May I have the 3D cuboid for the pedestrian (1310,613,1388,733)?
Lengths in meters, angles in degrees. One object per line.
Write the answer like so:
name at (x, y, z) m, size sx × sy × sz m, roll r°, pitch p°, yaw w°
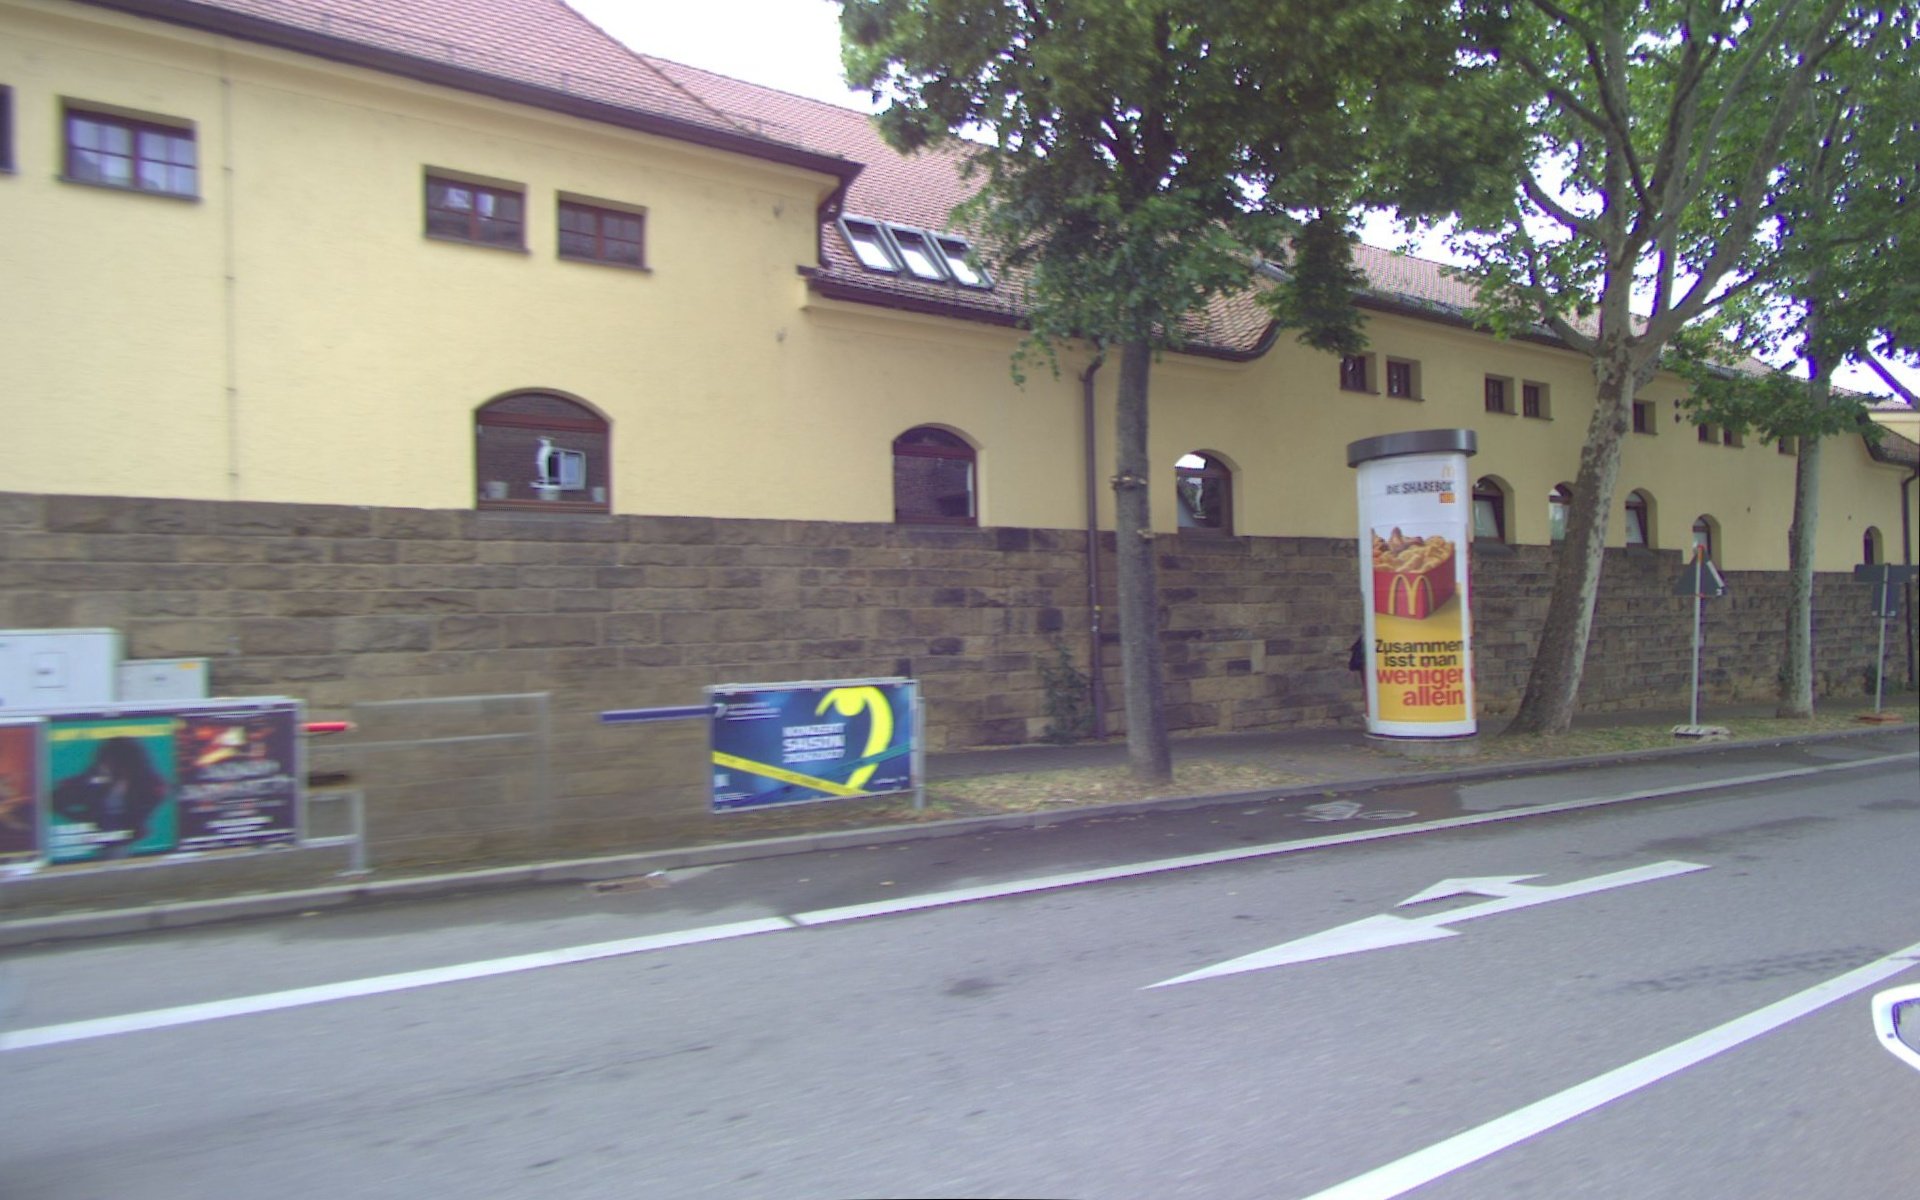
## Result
pedestrian at (6.122, 1.122, 15.824) m, size 0.864 × 1.818 × 0.773 m, roll 1°, pitch -2°, yaw -30°

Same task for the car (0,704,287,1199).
car at (-3.650, 0.869, 1.634) m, size 4.045 × 1.292 × 1.679 m, roll 2°, pitch -5°, yaw -29°
